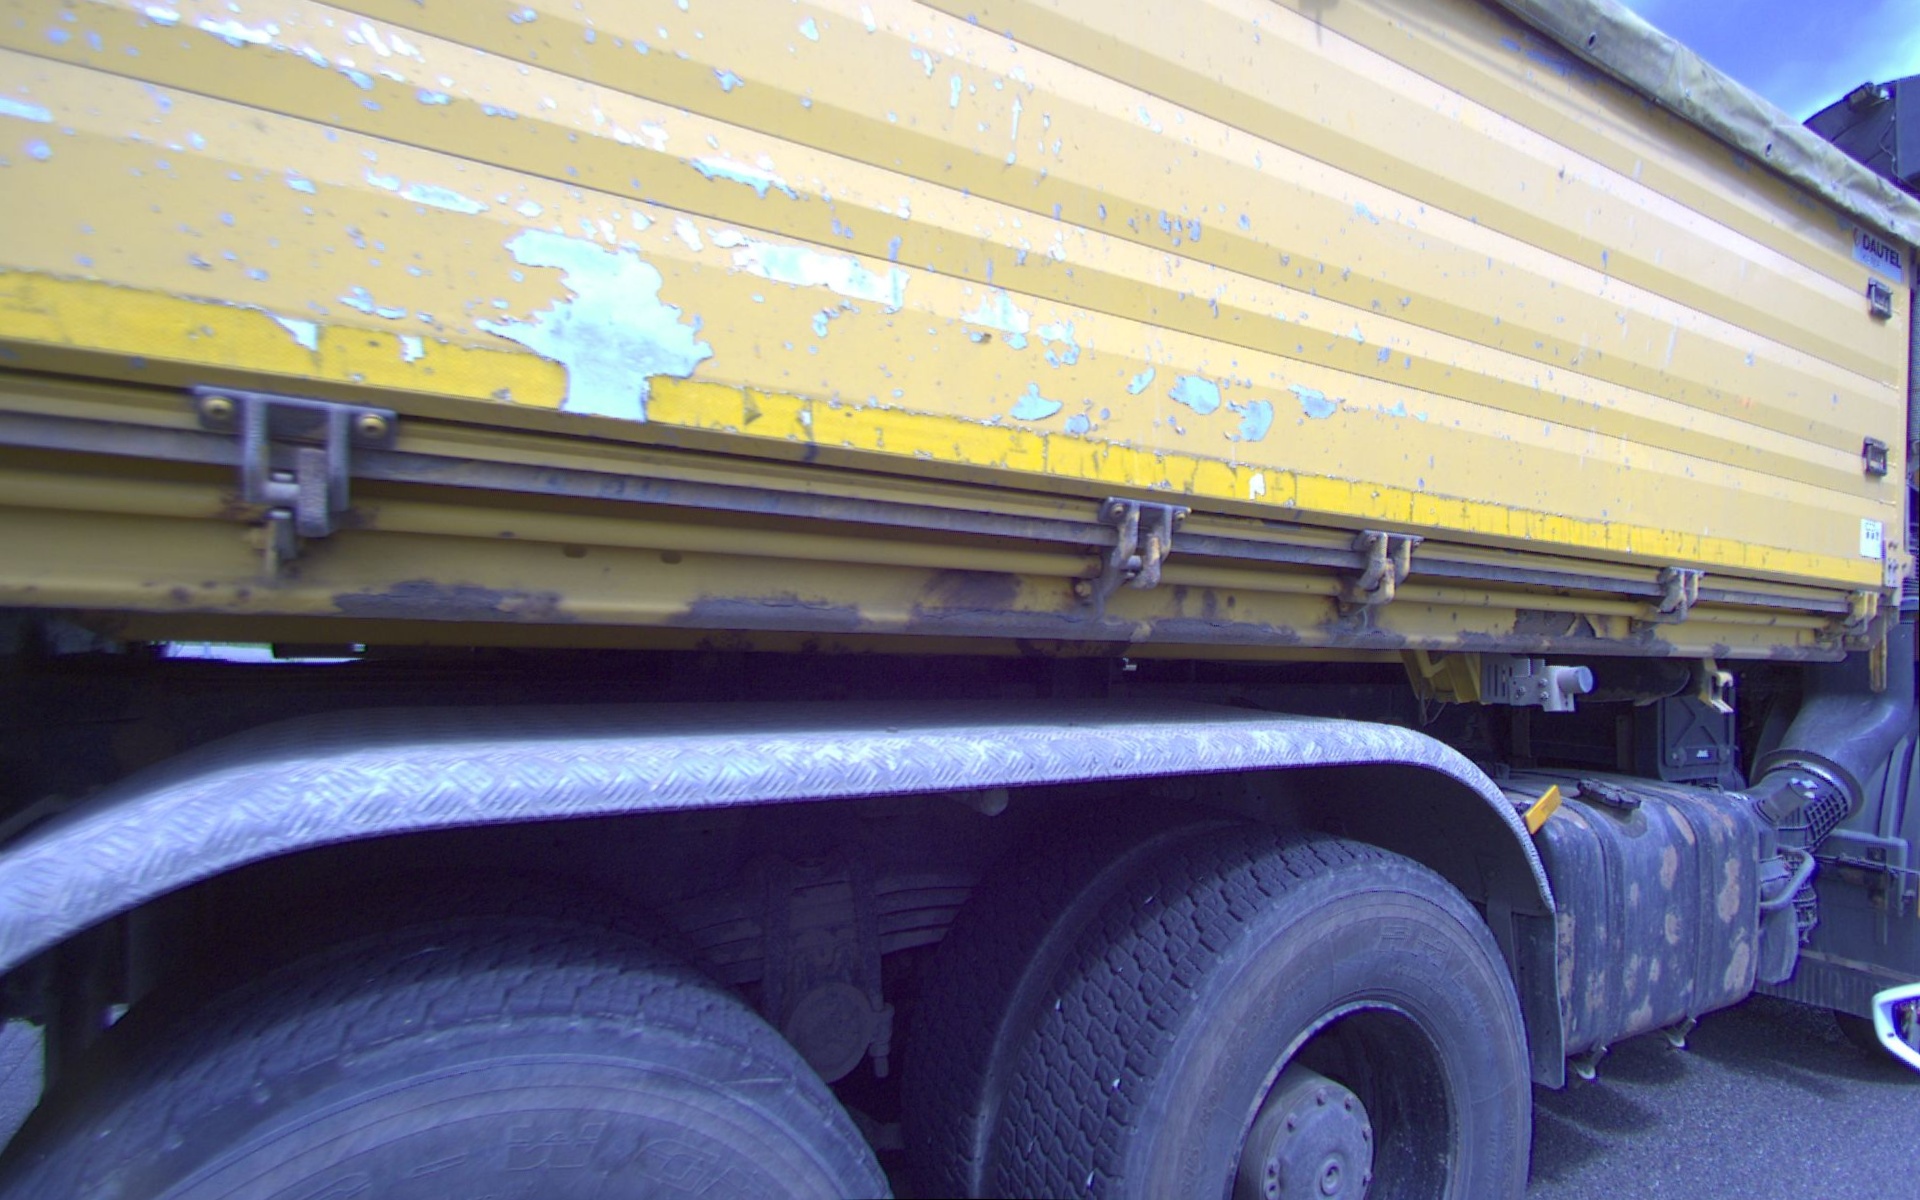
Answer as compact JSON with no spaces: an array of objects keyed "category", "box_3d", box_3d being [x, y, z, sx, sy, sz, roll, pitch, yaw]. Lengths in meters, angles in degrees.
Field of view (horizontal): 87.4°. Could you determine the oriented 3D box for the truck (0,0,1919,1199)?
[{"category":"truck","box_3d":[0.749,-0.269,3.122,7.916,3.439,3.033,1,0,-32]}]
